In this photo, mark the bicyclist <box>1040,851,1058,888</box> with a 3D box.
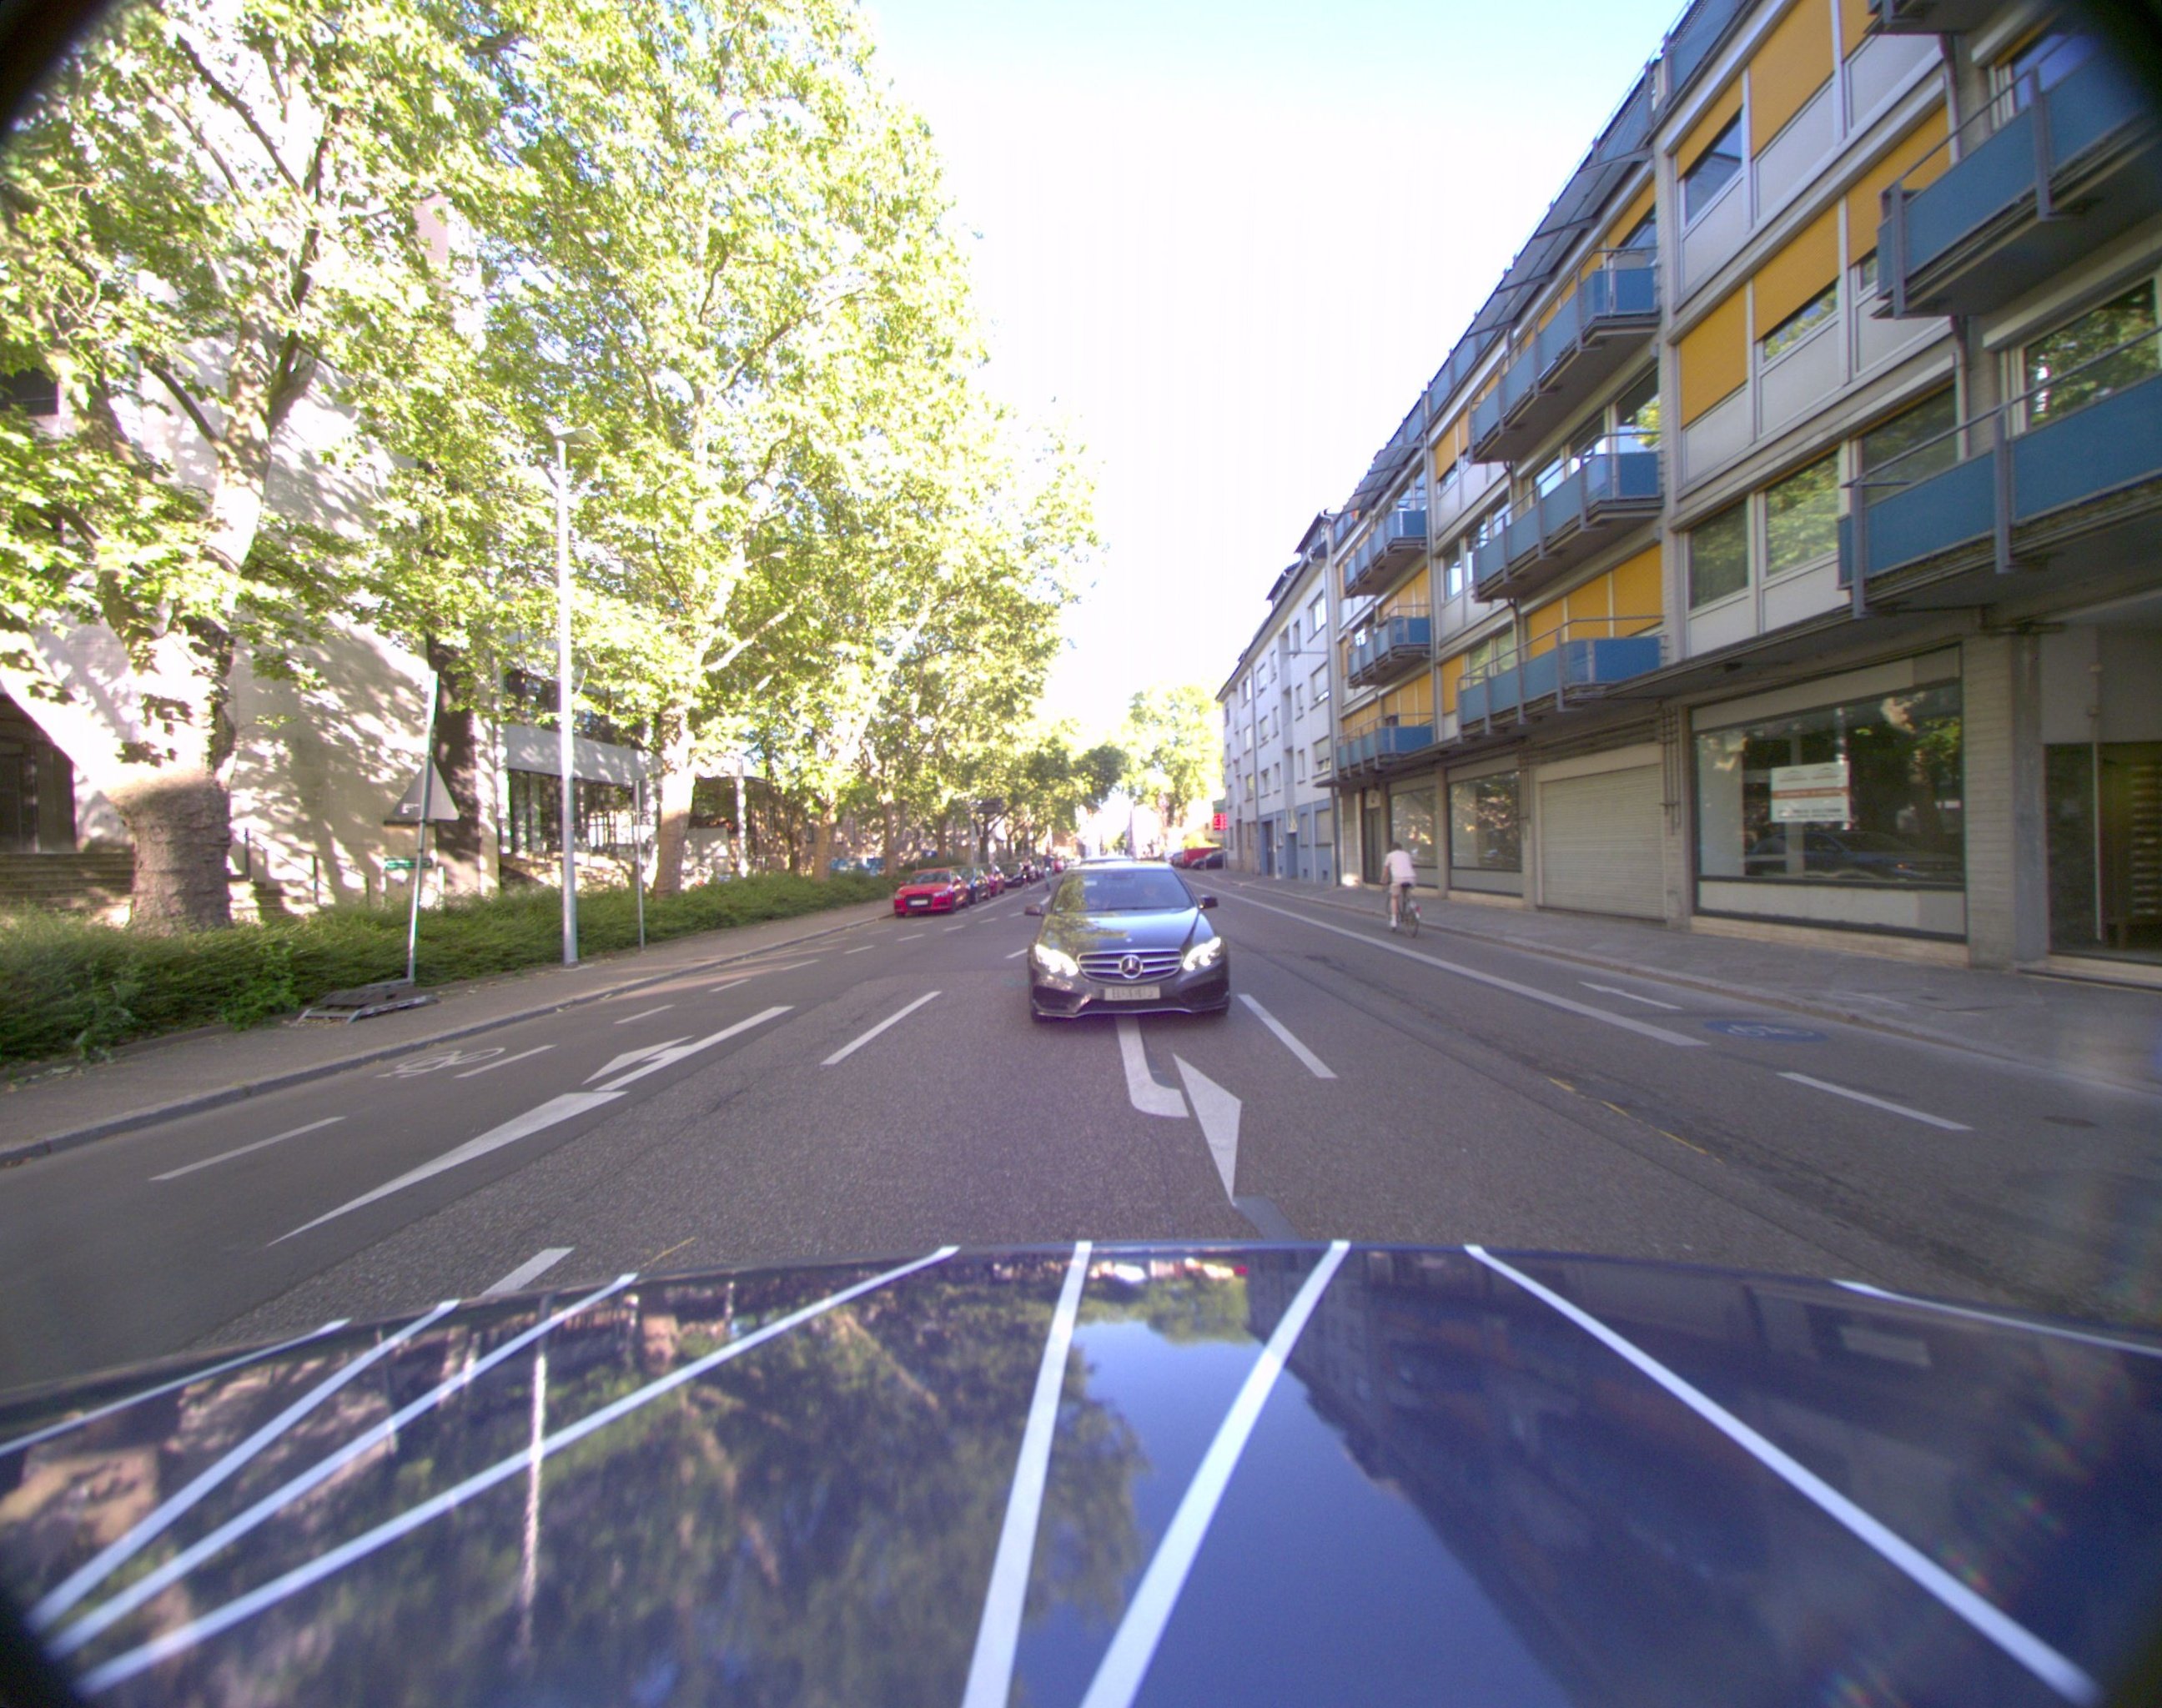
[{"bbox_3d":[-1.545,0.740,36.611,0.755,1.714,0.768,-3,1,0],"label":"bicyclist"}]

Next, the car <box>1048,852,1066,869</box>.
[{"bbox_3d":[-2.544,0.655,82.646,1.686,1.749,3.836,-2,0,1],"label":"car"}]

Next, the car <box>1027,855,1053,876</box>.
[{"bbox_3d":[-3.273,0.894,61.149,1.686,1.552,3.868,-2,0,1],"label":"car"}]

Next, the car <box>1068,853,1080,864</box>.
[{"bbox_3d":[-0.998,0.666,113.437,1.686,1.475,3.837,-2,0,1],"label":"car"}]

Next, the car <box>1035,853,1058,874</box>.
[{"bbox_3d":[-2.974,0.771,66.002,1.663,1.704,3.836,-2,0,1],"label":"car"}]

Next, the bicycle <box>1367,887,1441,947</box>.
[{"bbox_3d":[5.783,1.097,13.710,0.549,0.886,1.868,-3,1,2],"label":"bicycle"}]

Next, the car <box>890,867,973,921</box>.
[{"bbox_3d":[-4.665,1.208,24.313,1.724,1.412,4.031,-4,0,1],"label":"car"}]

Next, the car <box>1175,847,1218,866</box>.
[{"bbox_3d":[11.089,0.232,73.144,3.905,1.577,1.604,-3,1,3],"label":"car"}]

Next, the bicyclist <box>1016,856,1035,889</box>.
[{"bbox_3d":[-2.654,0.865,36.500,0.755,1.512,0.768,-3,1,0],"label":"bicyclist"}]

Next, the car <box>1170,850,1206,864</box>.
[{"bbox_3d":[12.137,0.325,86.095,3.905,1.325,1.525,-3,1,3],"label":"car"}]

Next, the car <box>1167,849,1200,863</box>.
[{"bbox_3d":[12.252,0.230,91.168,3.782,1.432,1.539,-3,1,3],"label":"car"}]

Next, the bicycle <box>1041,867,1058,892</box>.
[{"bbox_3d":[-1.517,1.202,36.603,0.667,1.093,1.814,-3,1,1],"label":"bicycle"}]

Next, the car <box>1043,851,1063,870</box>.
[{"bbox_3d":[-2.807,0.610,76.859,1.645,1.839,3.836,-2,0,1],"label":"car"}]

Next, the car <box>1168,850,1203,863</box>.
[{"bbox_3d":[12.191,0.298,88.484,3.905,1.325,1.525,-3,1,3],"label":"car"}]

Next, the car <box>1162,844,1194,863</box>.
[{"bbox_3d":[12.194,-0.076,95.664,3.905,2.164,1.725,-3,1,3],"label":"car"}]

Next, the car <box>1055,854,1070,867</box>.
[{"bbox_3d":[-2.291,0.767,93.690,1.639,1.493,3.753,-2,0,1],"label":"car"}]

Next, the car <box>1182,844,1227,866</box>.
[{"bbox_3d":[11.394,0.064,70.343,3.905,1.895,1.749,-2,1,3],"label":"car"}]

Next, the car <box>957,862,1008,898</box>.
[{"bbox_3d":[-4.358,1.113,34.254,1.666,1.426,3.781,-2,0,1],"label":"car"}]

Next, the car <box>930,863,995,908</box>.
[{"bbox_3d":[-4.458,1.147,29.069,1.686,1.458,4.000,-3,0,1],"label":"car"}]

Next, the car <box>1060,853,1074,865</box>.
[{"bbox_3d":[-1.869,0.618,102.307,1.686,1.546,3.837,-2,0,1],"label":"car"}]

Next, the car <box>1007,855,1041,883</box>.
[{"bbox_3d":[-3.617,0.925,48.703,1.686,1.610,3.837,-2,0,1],"label":"car"}]

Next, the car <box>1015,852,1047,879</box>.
[{"bbox_3d":[-3.560,0.791,54.830,1.819,1.758,4.431,-2,0,1],"label":"car"}]

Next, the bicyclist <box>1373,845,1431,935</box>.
[{"bbox_3d":[5.776,0.627,13.704,0.650,1.549,0.807,-3,1,1],"label":"bicyclist"}]

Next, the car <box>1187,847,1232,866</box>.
[{"bbox_3d":[11.397,0.254,67.497,3.667,1.501,1.602,-3,1,3],"label":"car"}]

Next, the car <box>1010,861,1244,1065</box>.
[{"bbox_3d":[0.405,0.905,8.305,1.828,1.495,4.294,-3,1,1],"label":"car"}]

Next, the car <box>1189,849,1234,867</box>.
[{"bbox_3d":[11.184,0.356,65.096,3.598,1.401,1.534,-3,0,3],"label":"car"}]

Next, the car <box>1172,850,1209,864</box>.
[{"bbox_3d":[11.970,0.326,83.343,3.905,1.366,1.595,-3,1,3],"label":"car"}]

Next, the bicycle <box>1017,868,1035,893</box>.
[{"bbox_3d":[-2.641,1.241,36.478,0.667,1.093,1.814,-3,1,1],"label":"bicycle"}]

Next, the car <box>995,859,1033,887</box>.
[{"bbox_3d":[-3.831,1.065,44.047,1.686,1.443,4.000,-2,0,1],"label":"car"}]

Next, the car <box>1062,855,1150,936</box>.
[{"bbox_3d":[0.548,0.859,17.734,1.732,1.538,4.294,-3,1,1],"label":"car"}]
